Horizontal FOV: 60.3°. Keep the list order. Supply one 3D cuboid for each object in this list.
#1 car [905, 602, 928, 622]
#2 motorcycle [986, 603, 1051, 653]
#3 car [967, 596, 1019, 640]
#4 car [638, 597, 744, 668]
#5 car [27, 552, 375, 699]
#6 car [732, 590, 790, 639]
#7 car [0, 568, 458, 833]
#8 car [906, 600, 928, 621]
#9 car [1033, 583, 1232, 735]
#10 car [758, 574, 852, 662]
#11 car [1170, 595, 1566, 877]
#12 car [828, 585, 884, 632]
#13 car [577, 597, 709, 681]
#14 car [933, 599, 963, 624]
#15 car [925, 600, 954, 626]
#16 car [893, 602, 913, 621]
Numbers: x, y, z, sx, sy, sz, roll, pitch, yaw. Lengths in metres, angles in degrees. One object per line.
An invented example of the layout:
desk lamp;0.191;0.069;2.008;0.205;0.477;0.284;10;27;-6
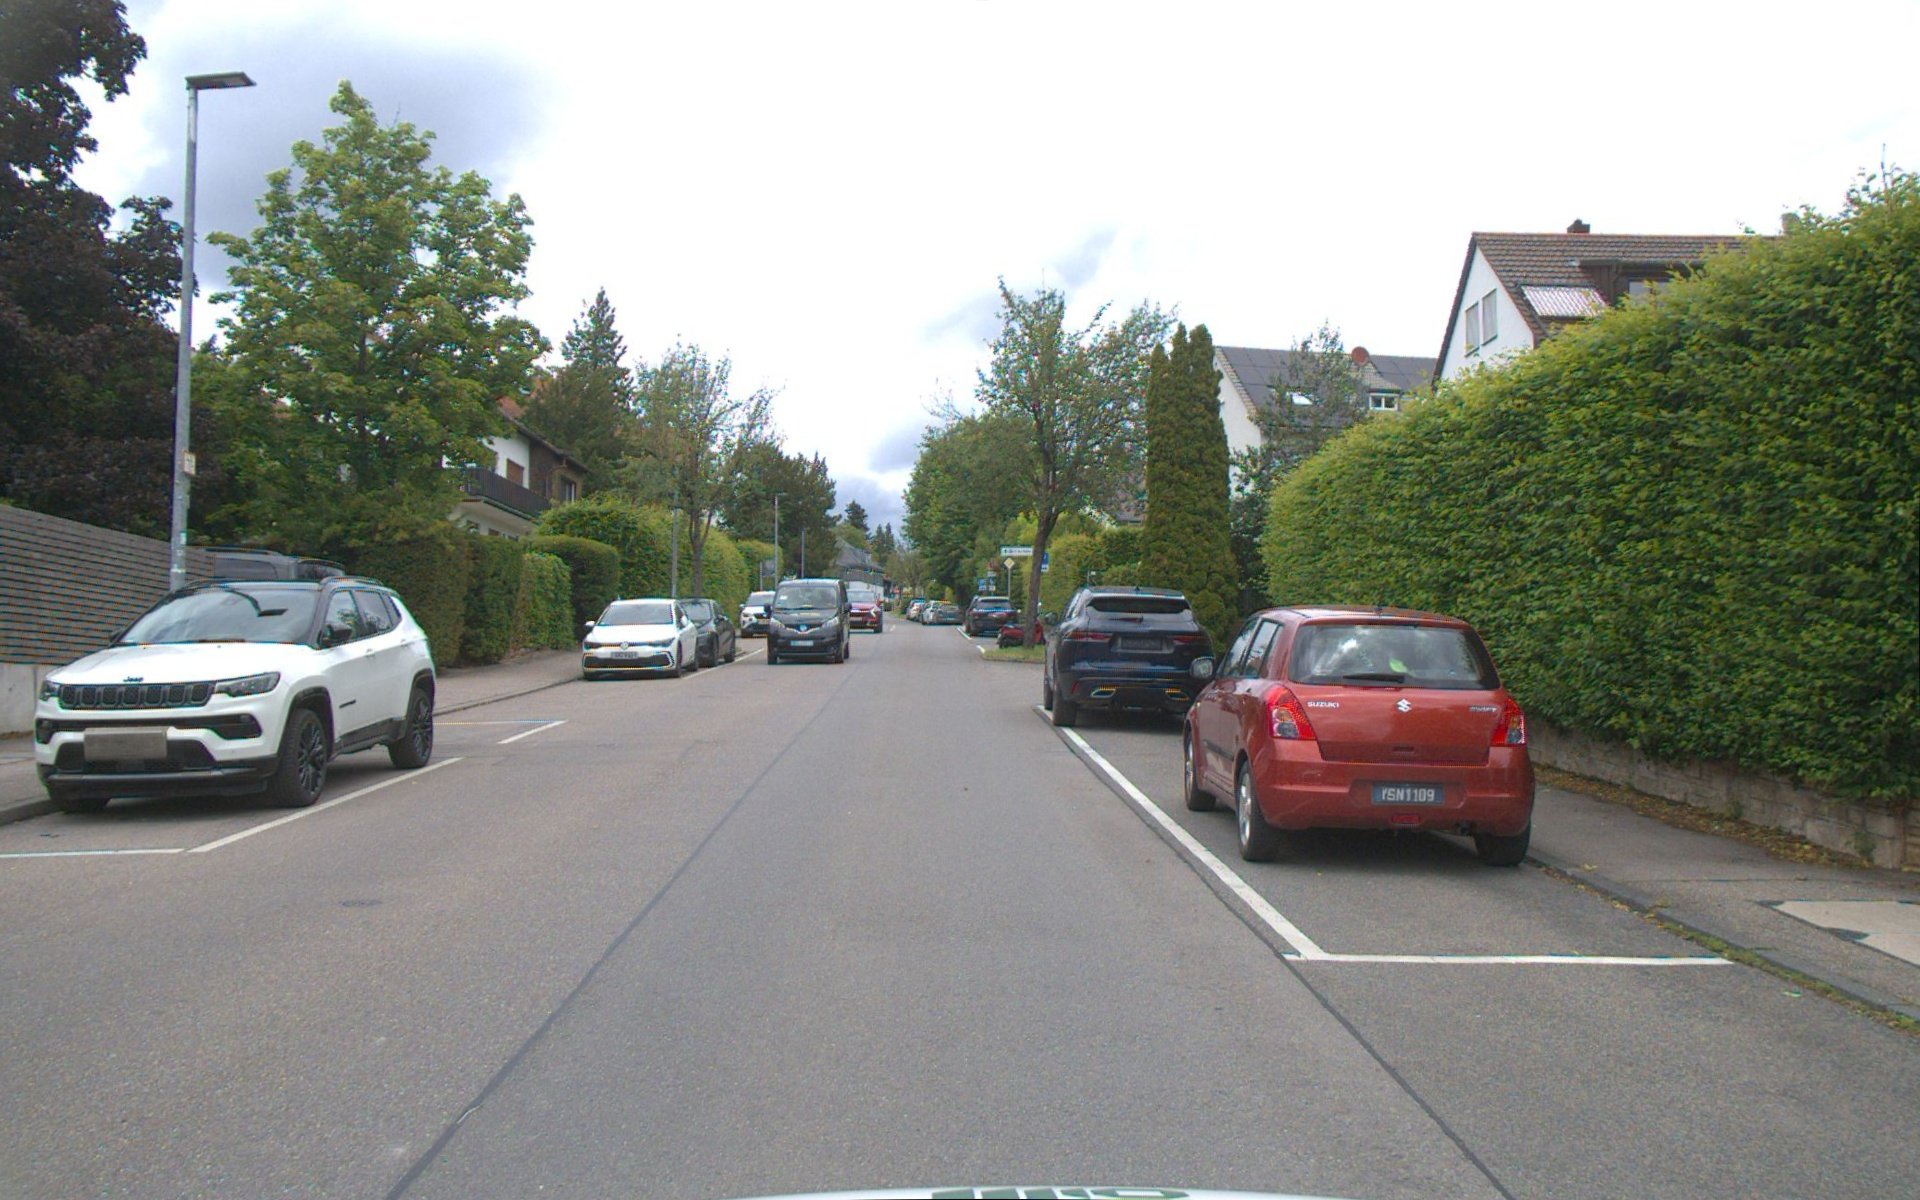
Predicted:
car;-3.461;0.968;131.074;1.632;1.527;3.463;1;0;-5
motorcycle;1.626;0.757;45.637;1.849;1.370;0.591;0;0;-38
car;1.240;0.673;63.381;1.844;1.560;4.475;2;0;0
car;-5.835;0.684;36.313;1.692;1.448;4.078;-1;0;-1
car;-10.671;0.358;23.446;3.986;1.984;2.001;0;-1;7
car;-6.711;0.474;56.006;1.688;1.567;3.997;-1;0;-4
car;-5.522;0.651;13.014;1.800;1.695;4.407;-1;0;-1
car;-3.604;0.862;137.881;1.632;1.697;3.463;1;0;-5
car;2.051;0.677;20.980;1.953;1.646;4.512;2;0;-1
car;-3.459;0.379;37.644;1.847;1.883;4.400;-1;0;-2
car;2.486;0.745;10.983;1.627;1.534;3.757;0;0;-1
car;-3.885;0.304;62.501;1.902;1.676;4.256;-2;0;-1
car;-5.961;0.684;31.563;1.800;1.447;4.406;-1;0;-2
car;-0.790;0.744;106.521;1.632;1.527;3.463;1;0;-5
car;-1.410;0.874;111.141;1.680;1.686;3.618;1;0;-5
car;-5.299;1.059;153.286;1.611;1.697;3.463;1;0;-5
